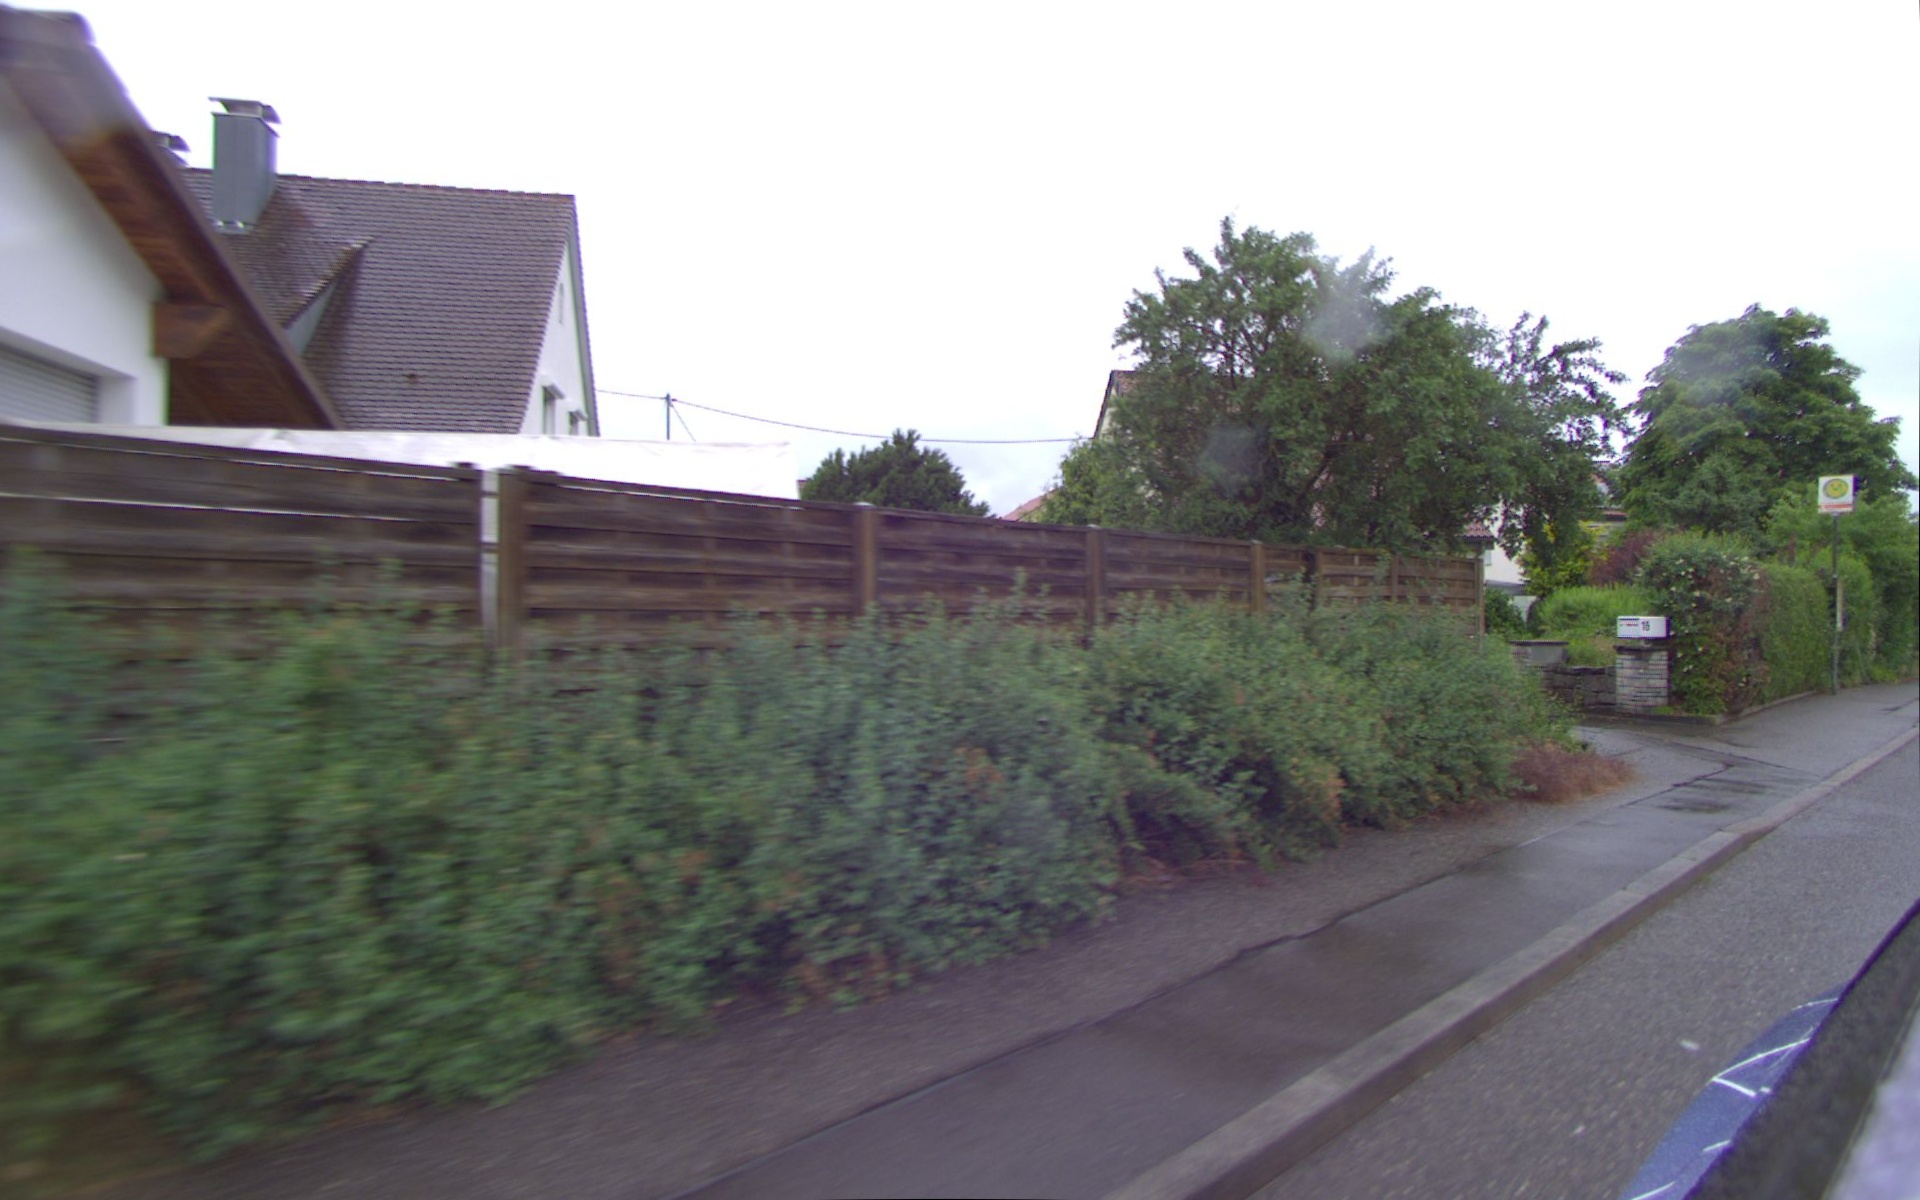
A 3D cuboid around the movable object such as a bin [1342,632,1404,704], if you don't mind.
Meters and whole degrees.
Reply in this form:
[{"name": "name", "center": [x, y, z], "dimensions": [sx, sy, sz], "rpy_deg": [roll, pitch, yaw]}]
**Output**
[{"name": "movable object such as a bin", "center": [8.893, 1.449, 21.805], "dimensions": [0.790, 1.487, 1.020], "rpy_deg": [1, -1, -13]}]
